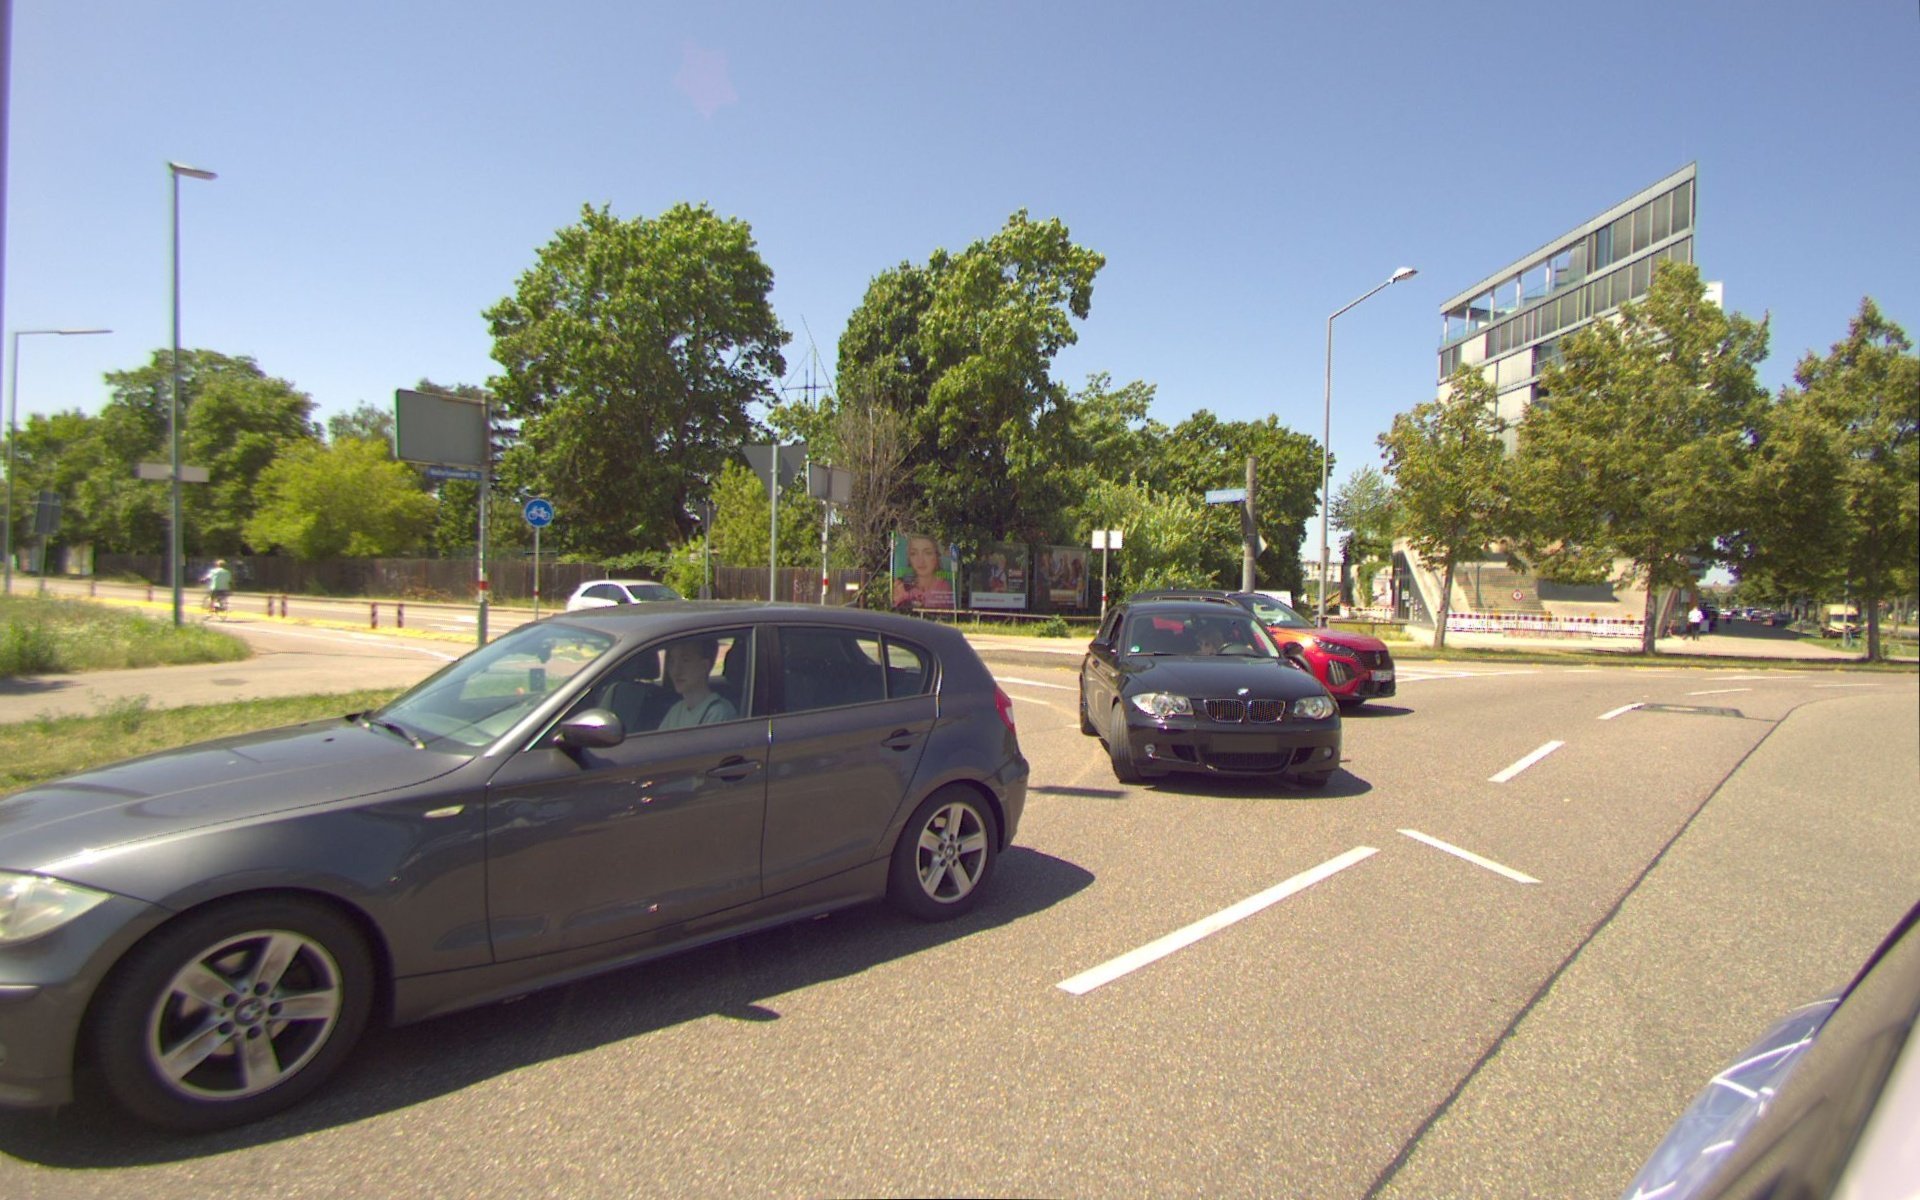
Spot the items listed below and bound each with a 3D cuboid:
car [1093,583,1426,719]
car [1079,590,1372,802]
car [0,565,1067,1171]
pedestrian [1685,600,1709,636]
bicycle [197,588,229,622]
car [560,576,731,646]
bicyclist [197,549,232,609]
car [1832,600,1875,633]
[{"bbox_3d":[3.983,0.573,14.070,1.690,1.546,4.208,1,1,-39],"label":"car"},{"bbox_3d":[2.090,0.648,9.100,1.770,1.458,3.997,0,1,3],"label":"car"},{"bbox_3d":[-1.555,0.632,4.191,4.010,1.421,1.750,1,0,-42],"label":"car"},{"bbox_3d":[39.590,0.960,54.361,0.601,1.892,0.834,-1,2,-40],"label":"pedestrian"},{"bbox_3d":[-21.309,0.121,28.894,0.616,0.890,1.877,1,2,-33],"label":"bicycle"},{"bbox_3d":[-7.427,0.191,23.784,3.976,1.446,1.840,2,2,36],"label":"car"},{"bbox_3d":[-21.283,-0.598,28.905,0.734,1.661,1.163,1,0,-34],"label":"bicyclist"},{"bbox_3d":[71.733,1.270,81.315,1.986,2.540,3.952,2,0,33],"label":"car"}]
